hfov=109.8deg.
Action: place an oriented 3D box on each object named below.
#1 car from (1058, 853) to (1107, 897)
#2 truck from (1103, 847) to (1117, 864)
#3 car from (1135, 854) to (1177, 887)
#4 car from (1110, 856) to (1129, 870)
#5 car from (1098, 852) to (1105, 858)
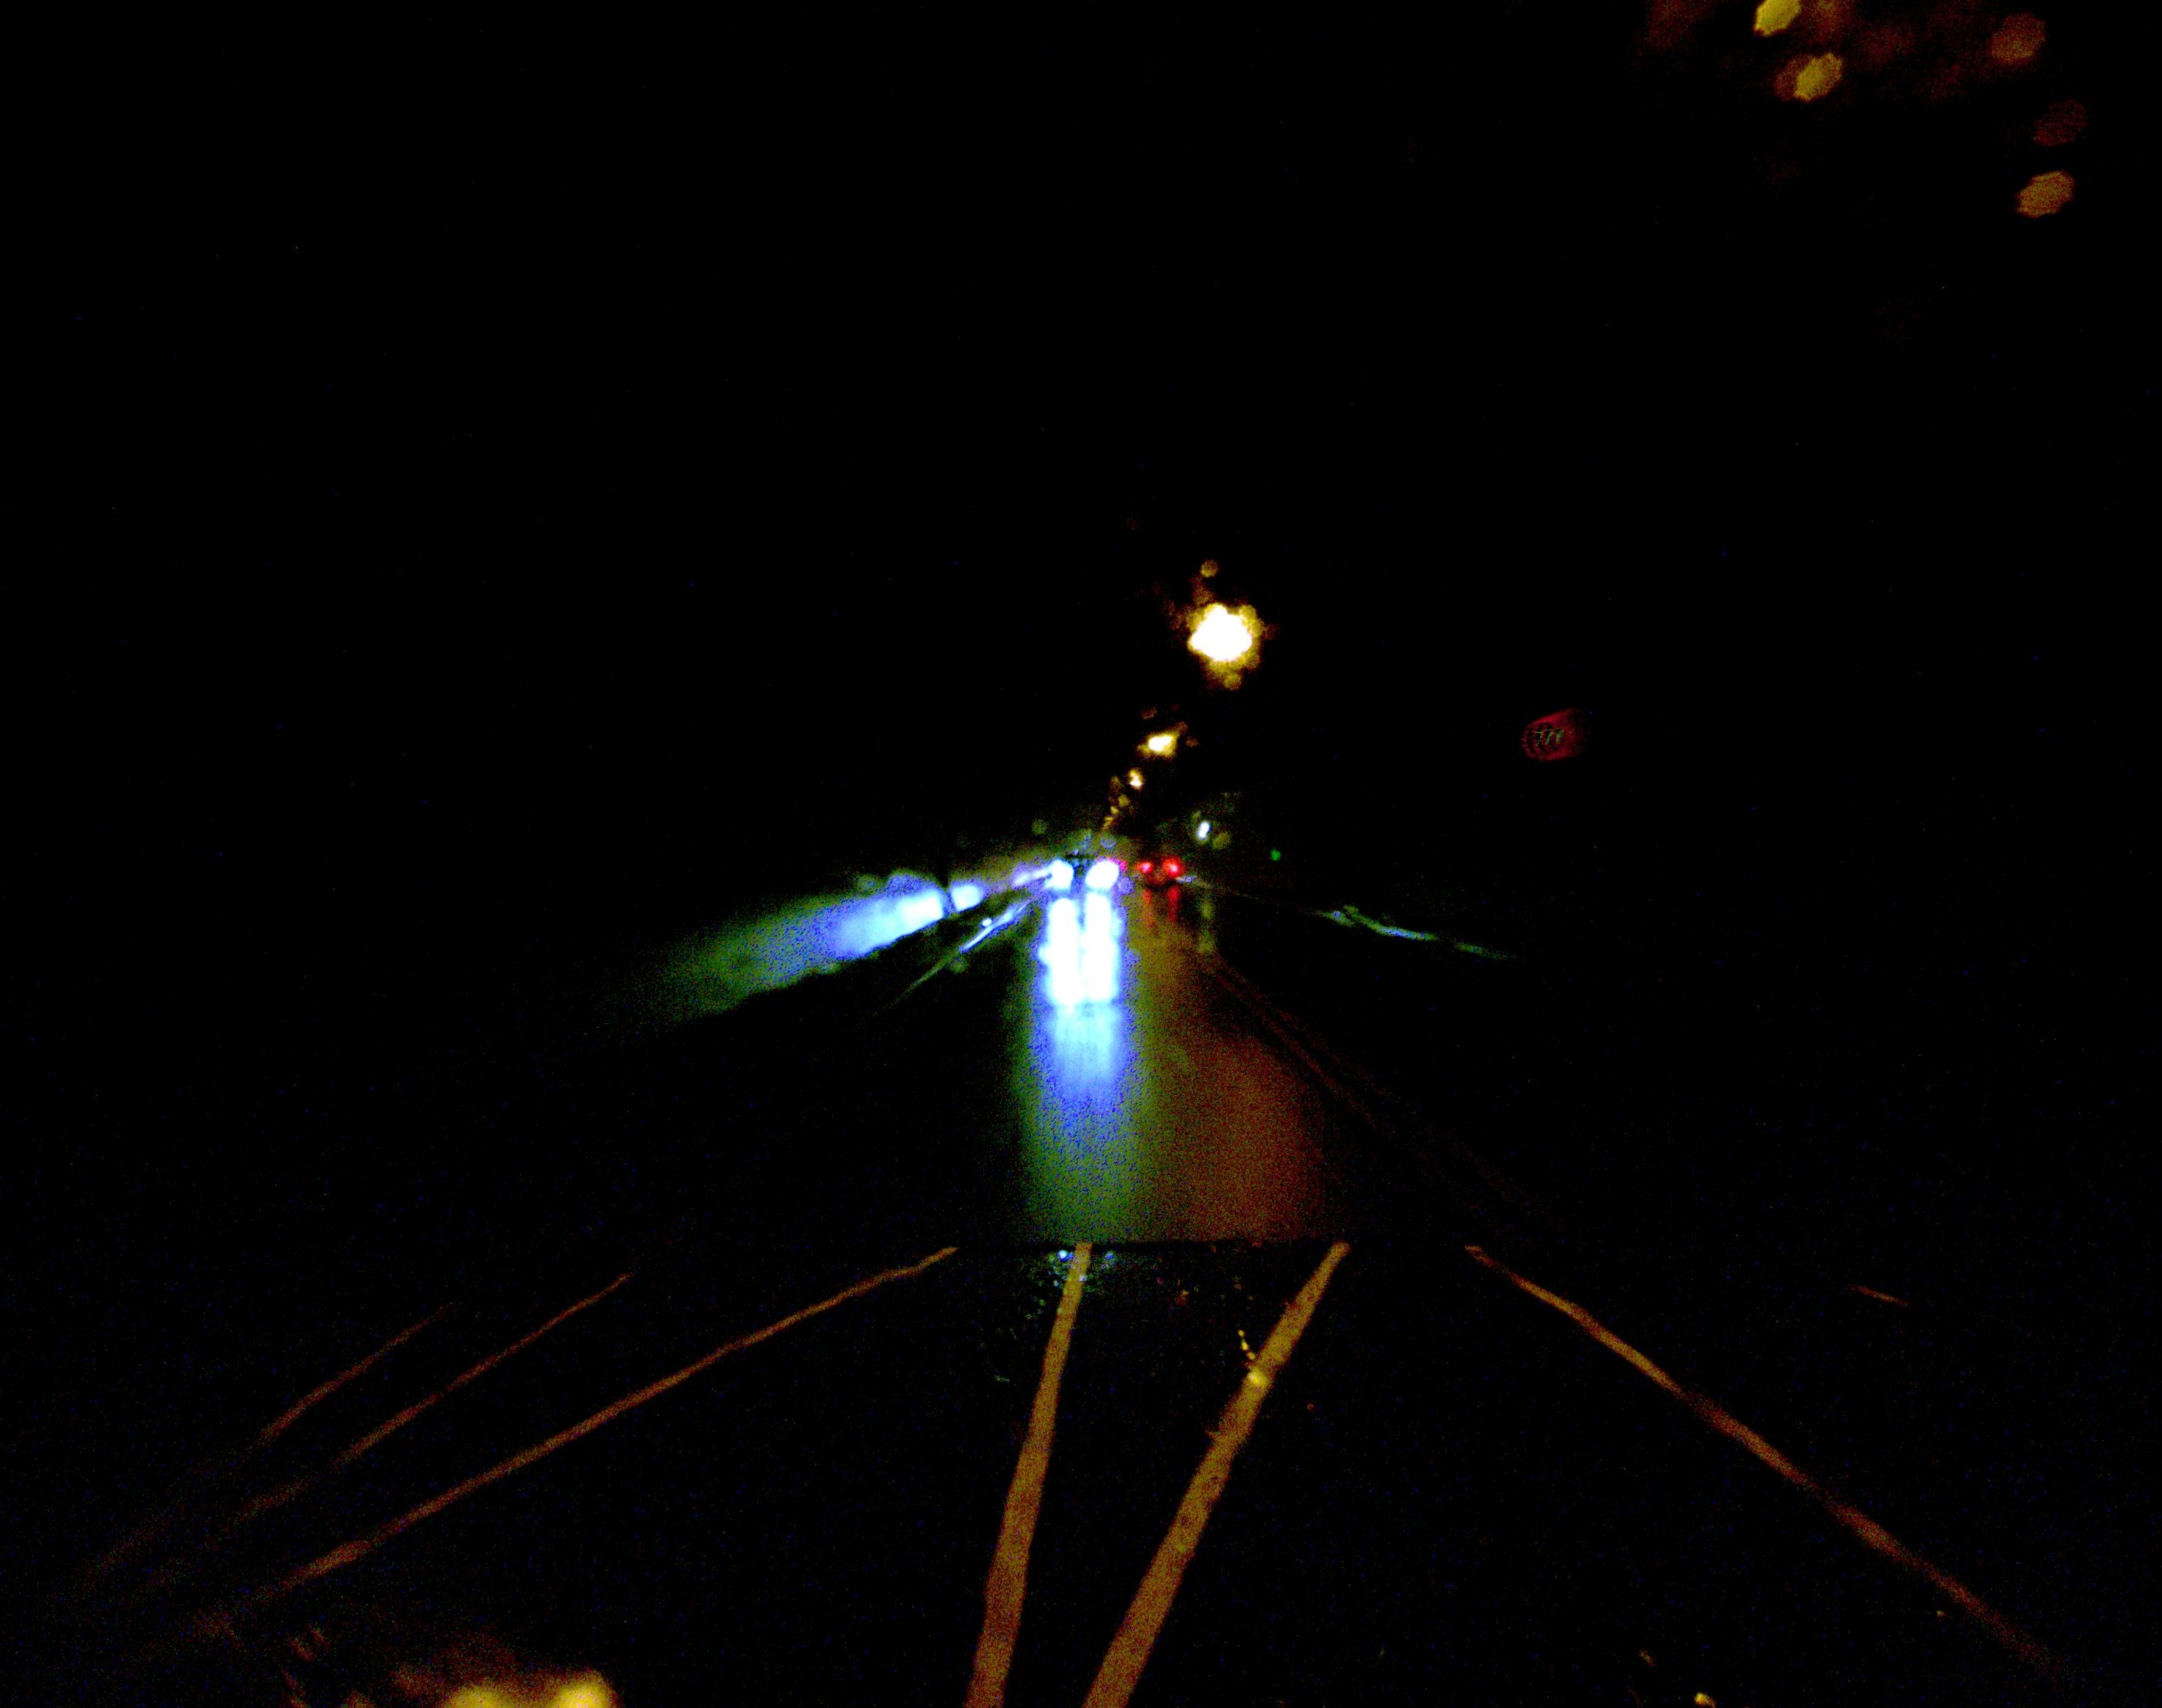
[{"bbox_3d":[0.074,0.778,30.385,1.829,1.650,3.929,0,0,1],"label":"car"},{"bbox_3d":[5.263,0.212,138.107,2.285,2.999,6.593,-1,0,-1],"label":"truck"},{"bbox_3d":[3.799,0.800,39.039,1.761,1.519,3.814,-2,0,1],"label":"car"},{"bbox_3d":[4.203,0.972,82.929,1.799,1.474,3.868,0,0,-1],"label":"car"},{"bbox_3d":[5.611,0.257,210.187,1.733,1.781,3.932,-1,0,0],"label":"car"}]
